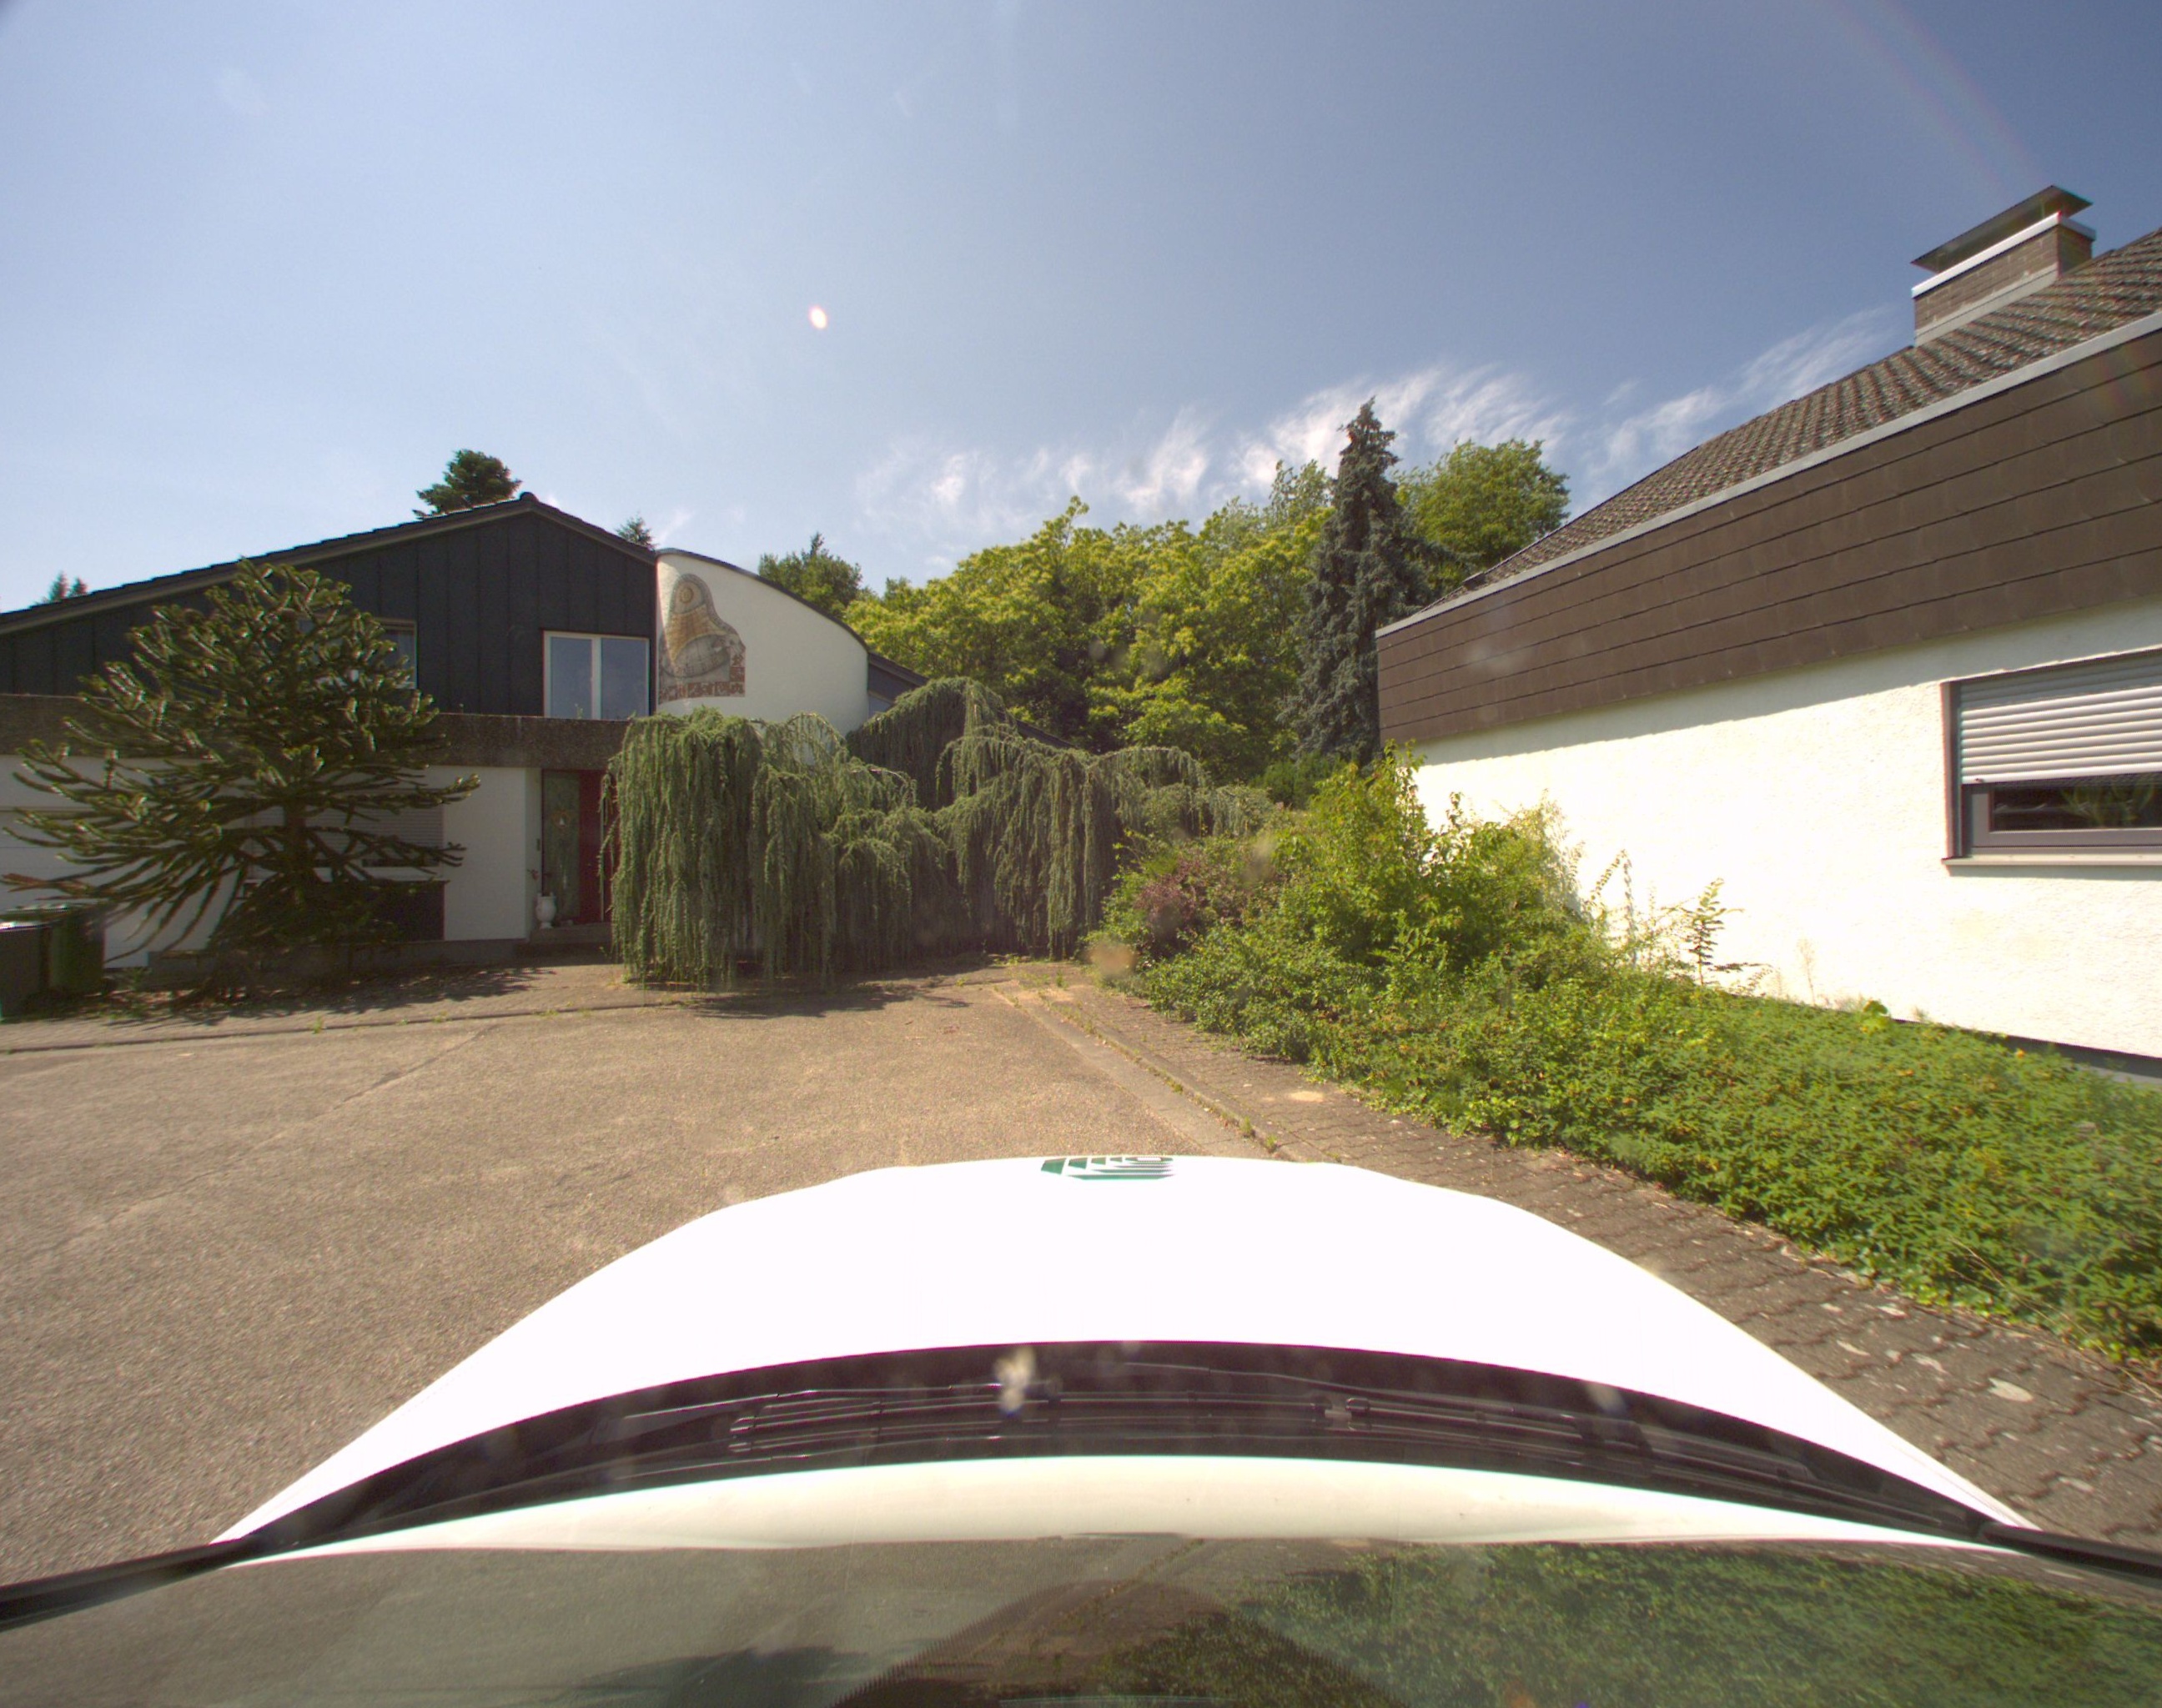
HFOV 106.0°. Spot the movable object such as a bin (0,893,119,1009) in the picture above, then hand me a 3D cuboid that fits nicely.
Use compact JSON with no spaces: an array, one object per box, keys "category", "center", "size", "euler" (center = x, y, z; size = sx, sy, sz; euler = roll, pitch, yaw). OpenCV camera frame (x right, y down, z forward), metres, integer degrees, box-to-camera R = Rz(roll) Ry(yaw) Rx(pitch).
[{"category":"movable object such as a bin","center":[-11.380,1.059,9.091],"size":[0.633,1.203,0.548],"euler":[-1,-1,-19]}]

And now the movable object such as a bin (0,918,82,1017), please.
[{"category":"movable object such as a bin","center":[-10.881,1.169,8.510],"size":[0.384,0.950,0.527],"euler":[-1,-1,45]}]
